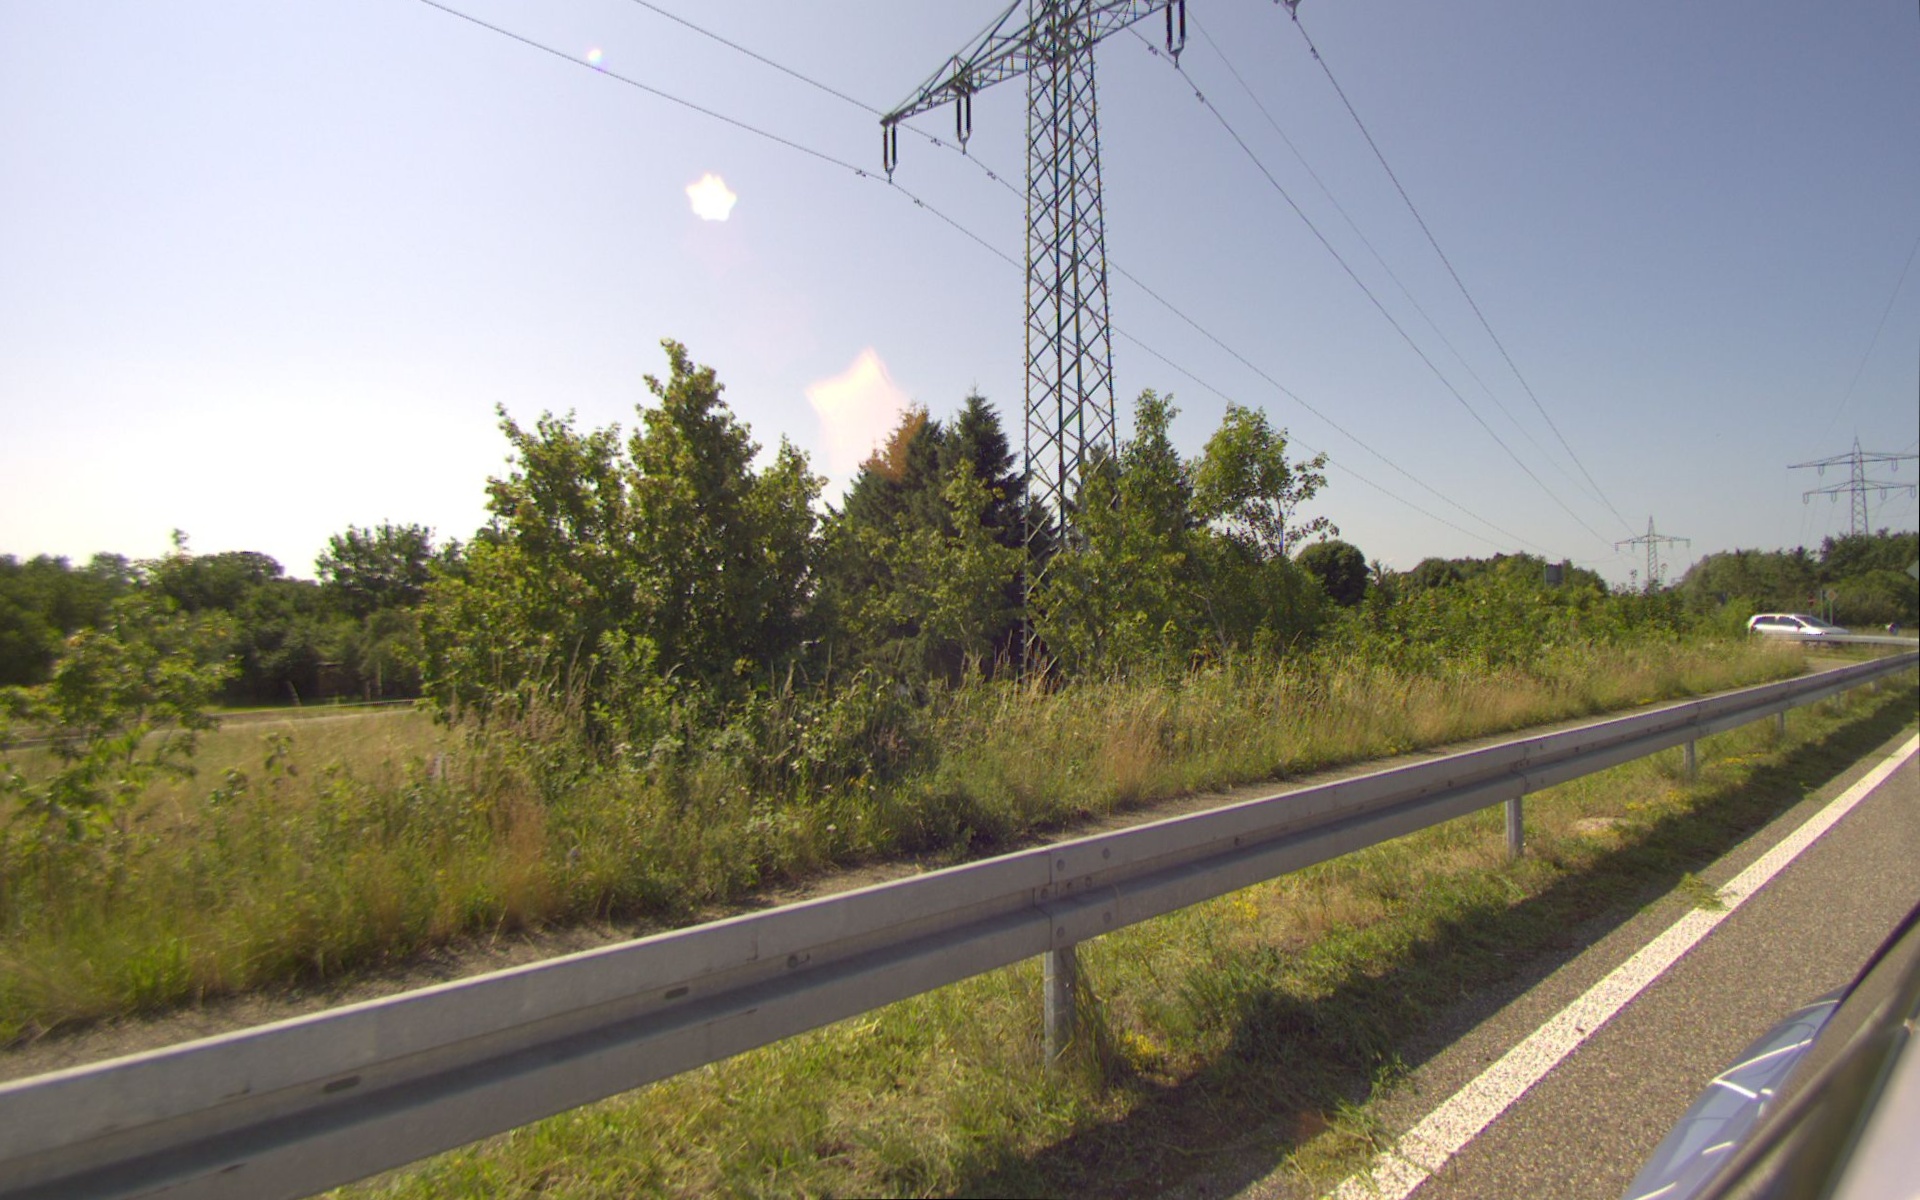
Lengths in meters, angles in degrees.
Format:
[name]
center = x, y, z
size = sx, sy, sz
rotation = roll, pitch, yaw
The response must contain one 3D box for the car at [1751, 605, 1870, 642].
[car]
center = 36.692, 0.982, 43.773
size = 1.517, 1.487, 3.668
rotation = 1, 0, -19
